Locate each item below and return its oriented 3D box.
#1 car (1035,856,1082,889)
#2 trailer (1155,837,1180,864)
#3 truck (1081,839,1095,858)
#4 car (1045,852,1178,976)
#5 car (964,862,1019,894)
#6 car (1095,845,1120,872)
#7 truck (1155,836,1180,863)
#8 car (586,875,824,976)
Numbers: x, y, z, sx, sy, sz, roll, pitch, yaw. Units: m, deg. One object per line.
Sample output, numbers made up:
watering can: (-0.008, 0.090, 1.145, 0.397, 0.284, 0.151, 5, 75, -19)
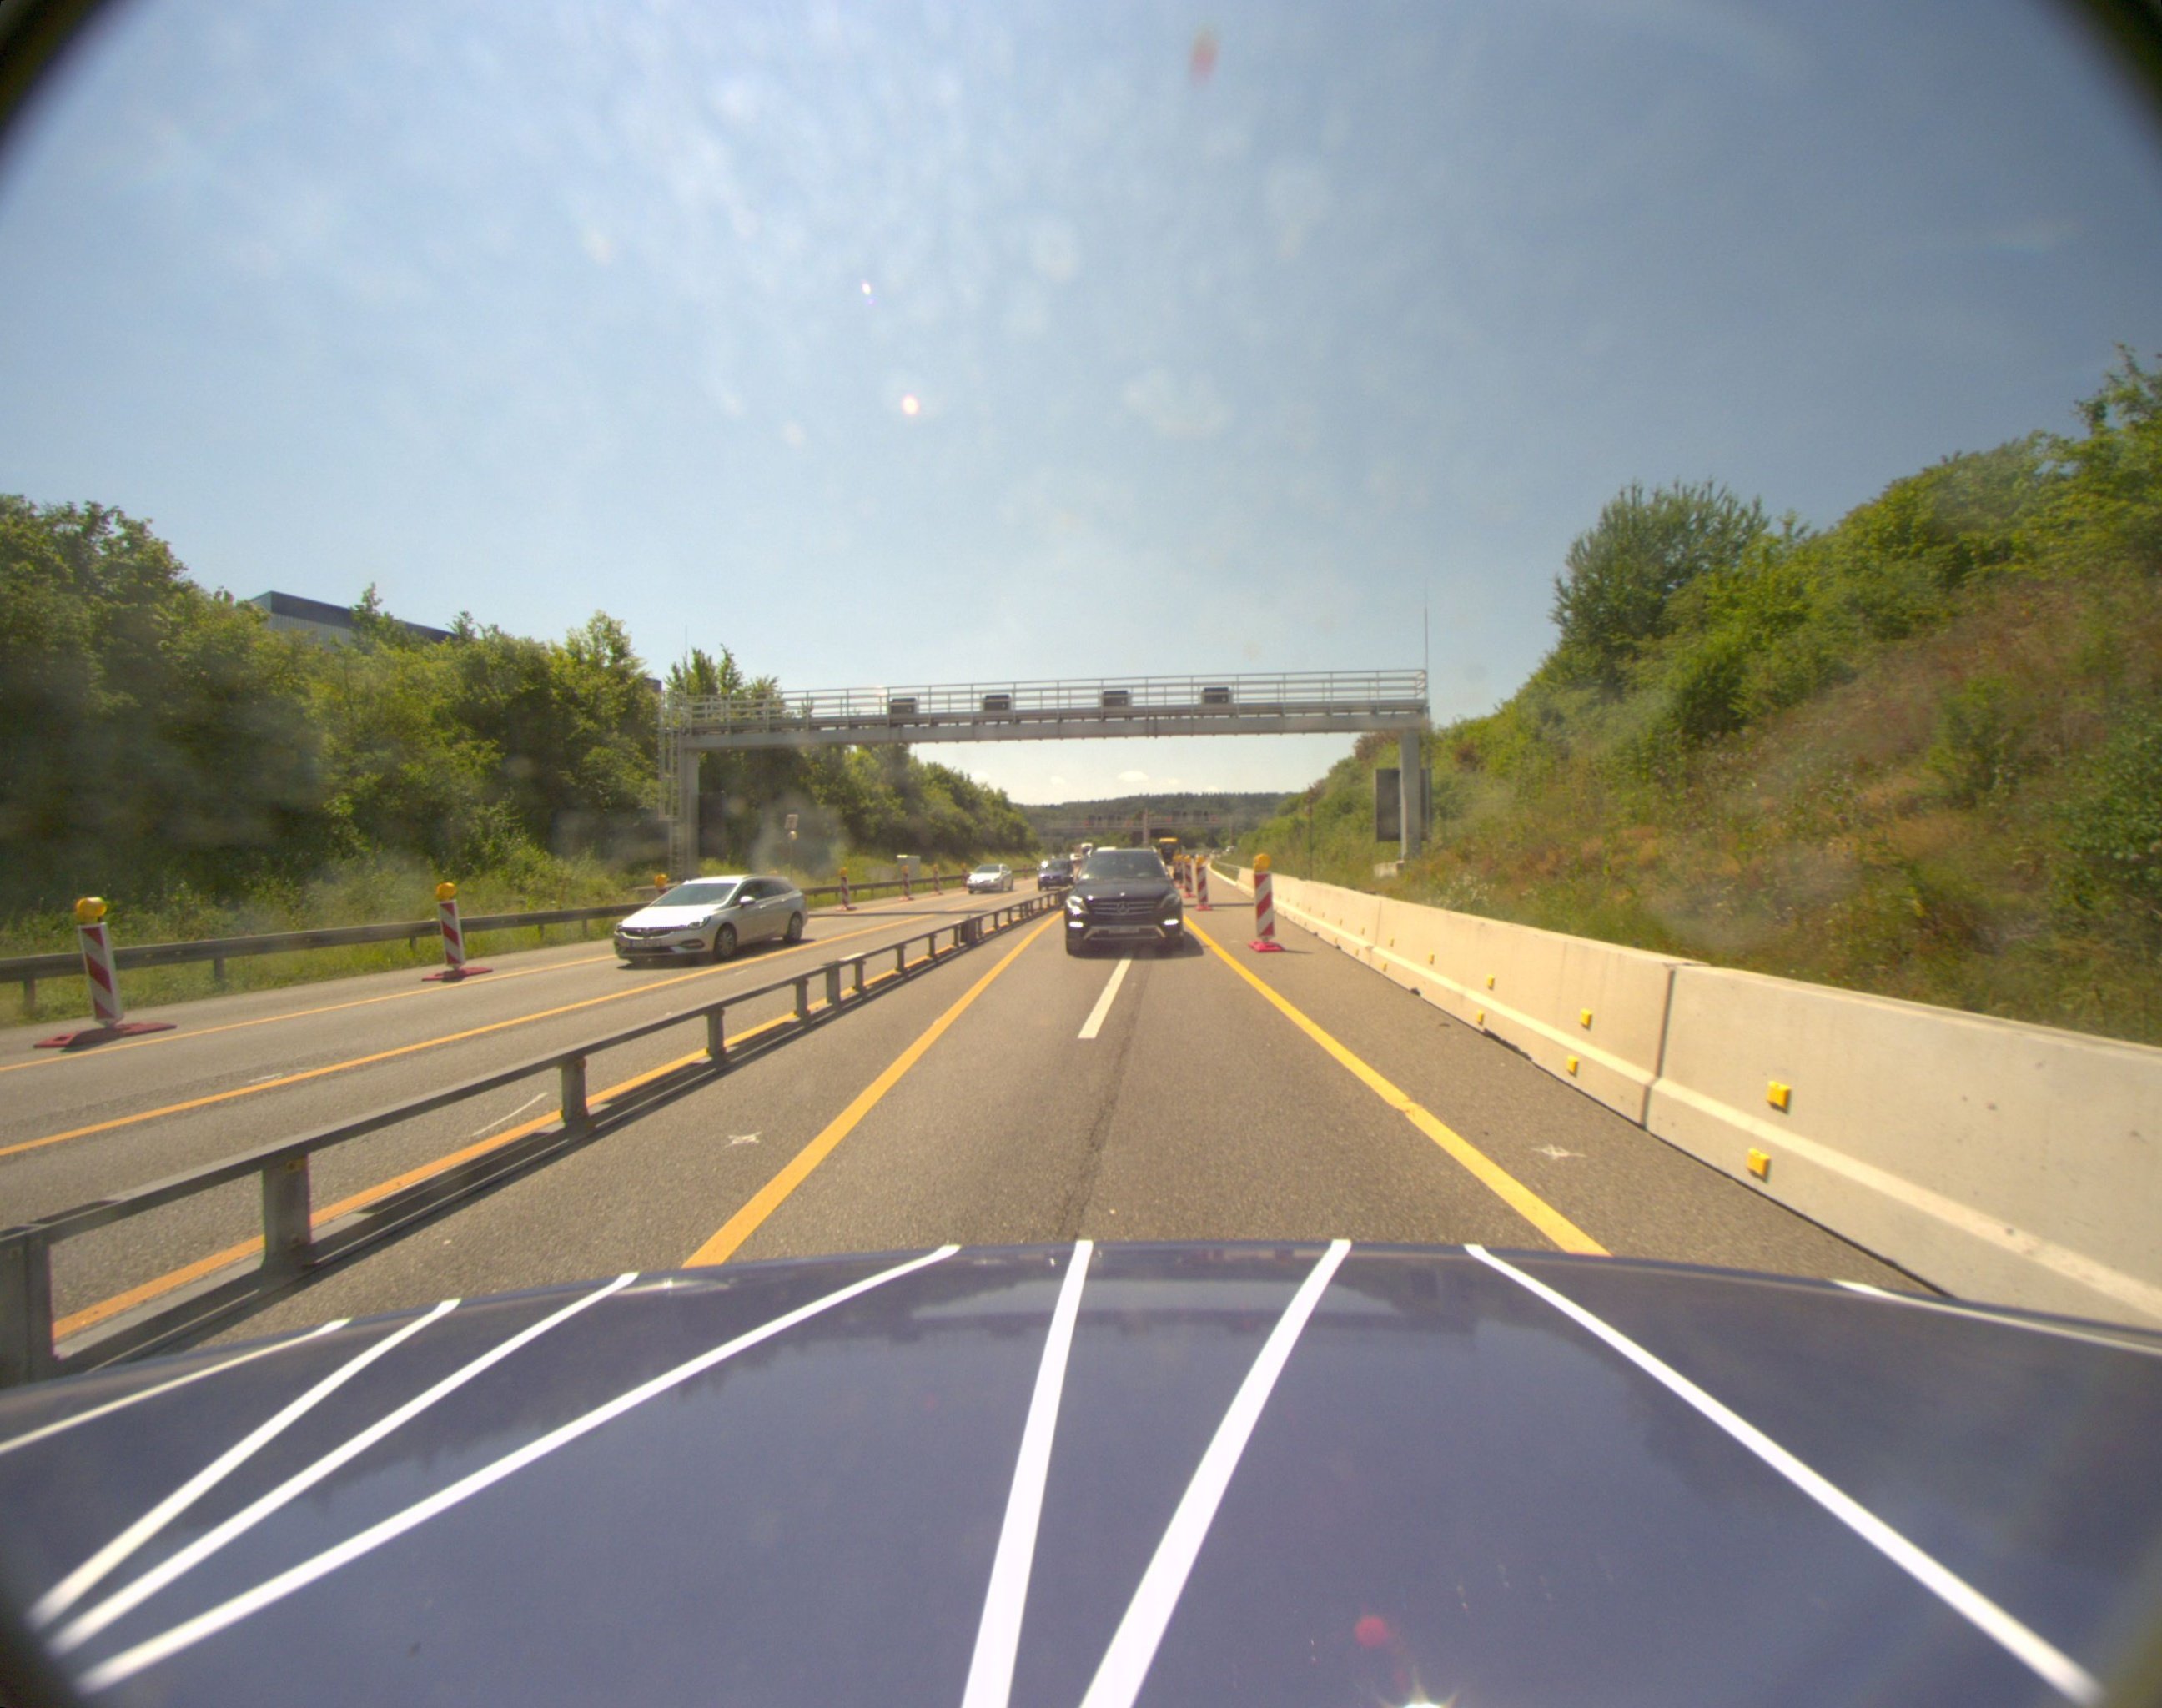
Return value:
car: (-1.174, 0.967, 41.236, 1.818, 1.633, 4.655, -2, 0, 7)
trailer: (13.096, -0.456, 114.261, 3.235, 3.645, 17.433, -2, -1, 7)
truck: (1.545, -1.131, 166.825, 2.532, 3.927, 5.601, -2, 0, 6)
car: (0.686, 0.846, 12.896, 1.818, 1.685, 4.495, -2, 0, 7)
car: (-4.643, 1.212, 40.095, 1.818, 1.456, 4.655, -2, 0, 7)
car: (2.709, 0.434, 76.824, 2.271, 2.521, 6.586, -1, 0, 4)
truck: (12.013, -0.559, 105.869, 3.228, 3.639, 7.088, -2, -1, 7)
car: (-6.904, 1.231, 14.659, 1.818, 1.456, 4.655, -2, 0, 7)
